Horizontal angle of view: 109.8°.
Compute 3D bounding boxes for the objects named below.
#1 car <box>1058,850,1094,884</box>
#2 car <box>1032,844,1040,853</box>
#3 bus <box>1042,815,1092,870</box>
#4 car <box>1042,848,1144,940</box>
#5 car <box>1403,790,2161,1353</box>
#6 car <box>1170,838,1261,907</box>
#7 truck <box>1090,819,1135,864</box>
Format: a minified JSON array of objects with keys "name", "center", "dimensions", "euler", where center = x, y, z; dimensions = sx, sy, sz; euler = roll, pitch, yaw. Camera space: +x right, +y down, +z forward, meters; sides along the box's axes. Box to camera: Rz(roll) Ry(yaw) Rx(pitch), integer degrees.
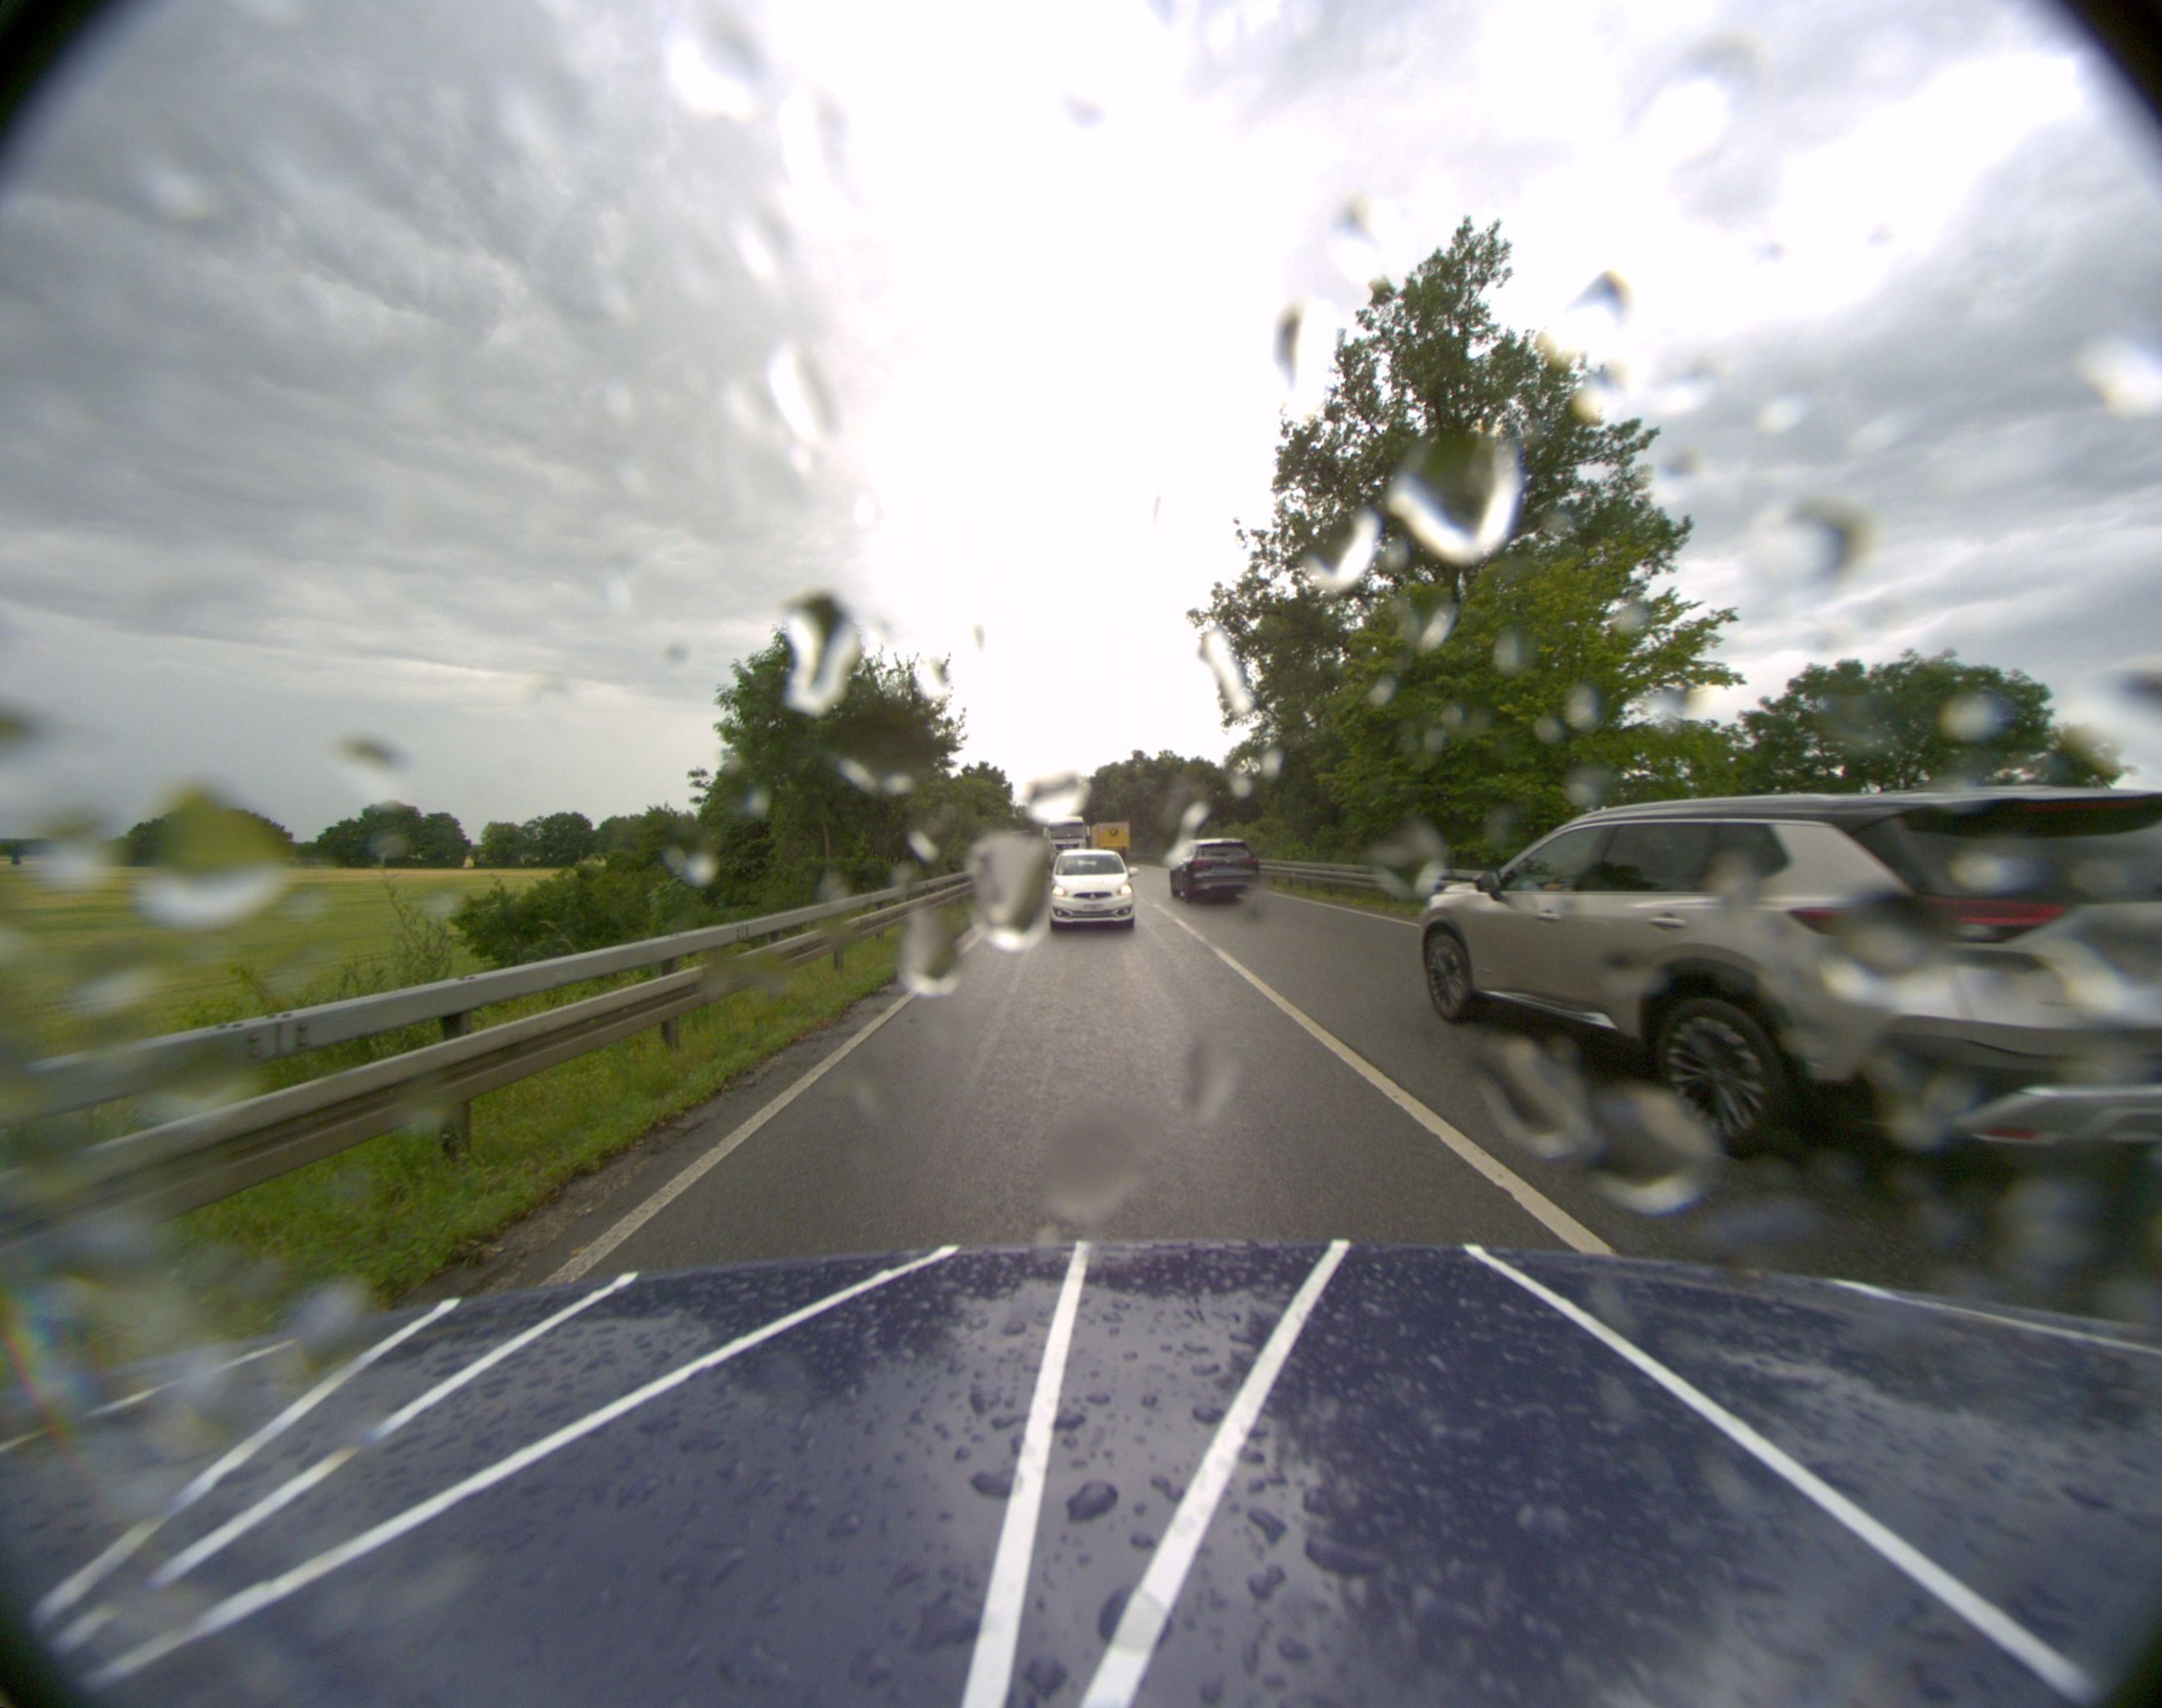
[{"name":"car","center":[-0.180,0.532,33.845],"dimensions":[1.475,1.410,3.428],"euler":[-1,0,1]},{"name":"car","center":[-7.860,-0.995,132.998],"dimensions":[1.393,1.470,3.225],"euler":[-1,1,-5]},{"name":"bus","center":[-1.086,-0.866,55.613],"dimensions":[3.063,3.405,13.635],"euler":[-2,1,-2]},{"name":"car","center":[0.218,0.666,14.994],"dimensions":[1.701,1.471,4.062],"euler":[-2,1,0]},{"name":"car","center":[3.772,0.626,4.486],"dimensions":[1.846,1.690,4.388],"euler":[-2,0,0]},{"name":"car","center":[3.575,0.436,20.969],"dimensions":[1.750,1.644,4.524],"euler":[-2,0,1]},{"name":"truck","center":[2.596,-1.175,65.450],"dimensions":[2.778,3.411,9.180],"euler":[-5,2,-3]}]
